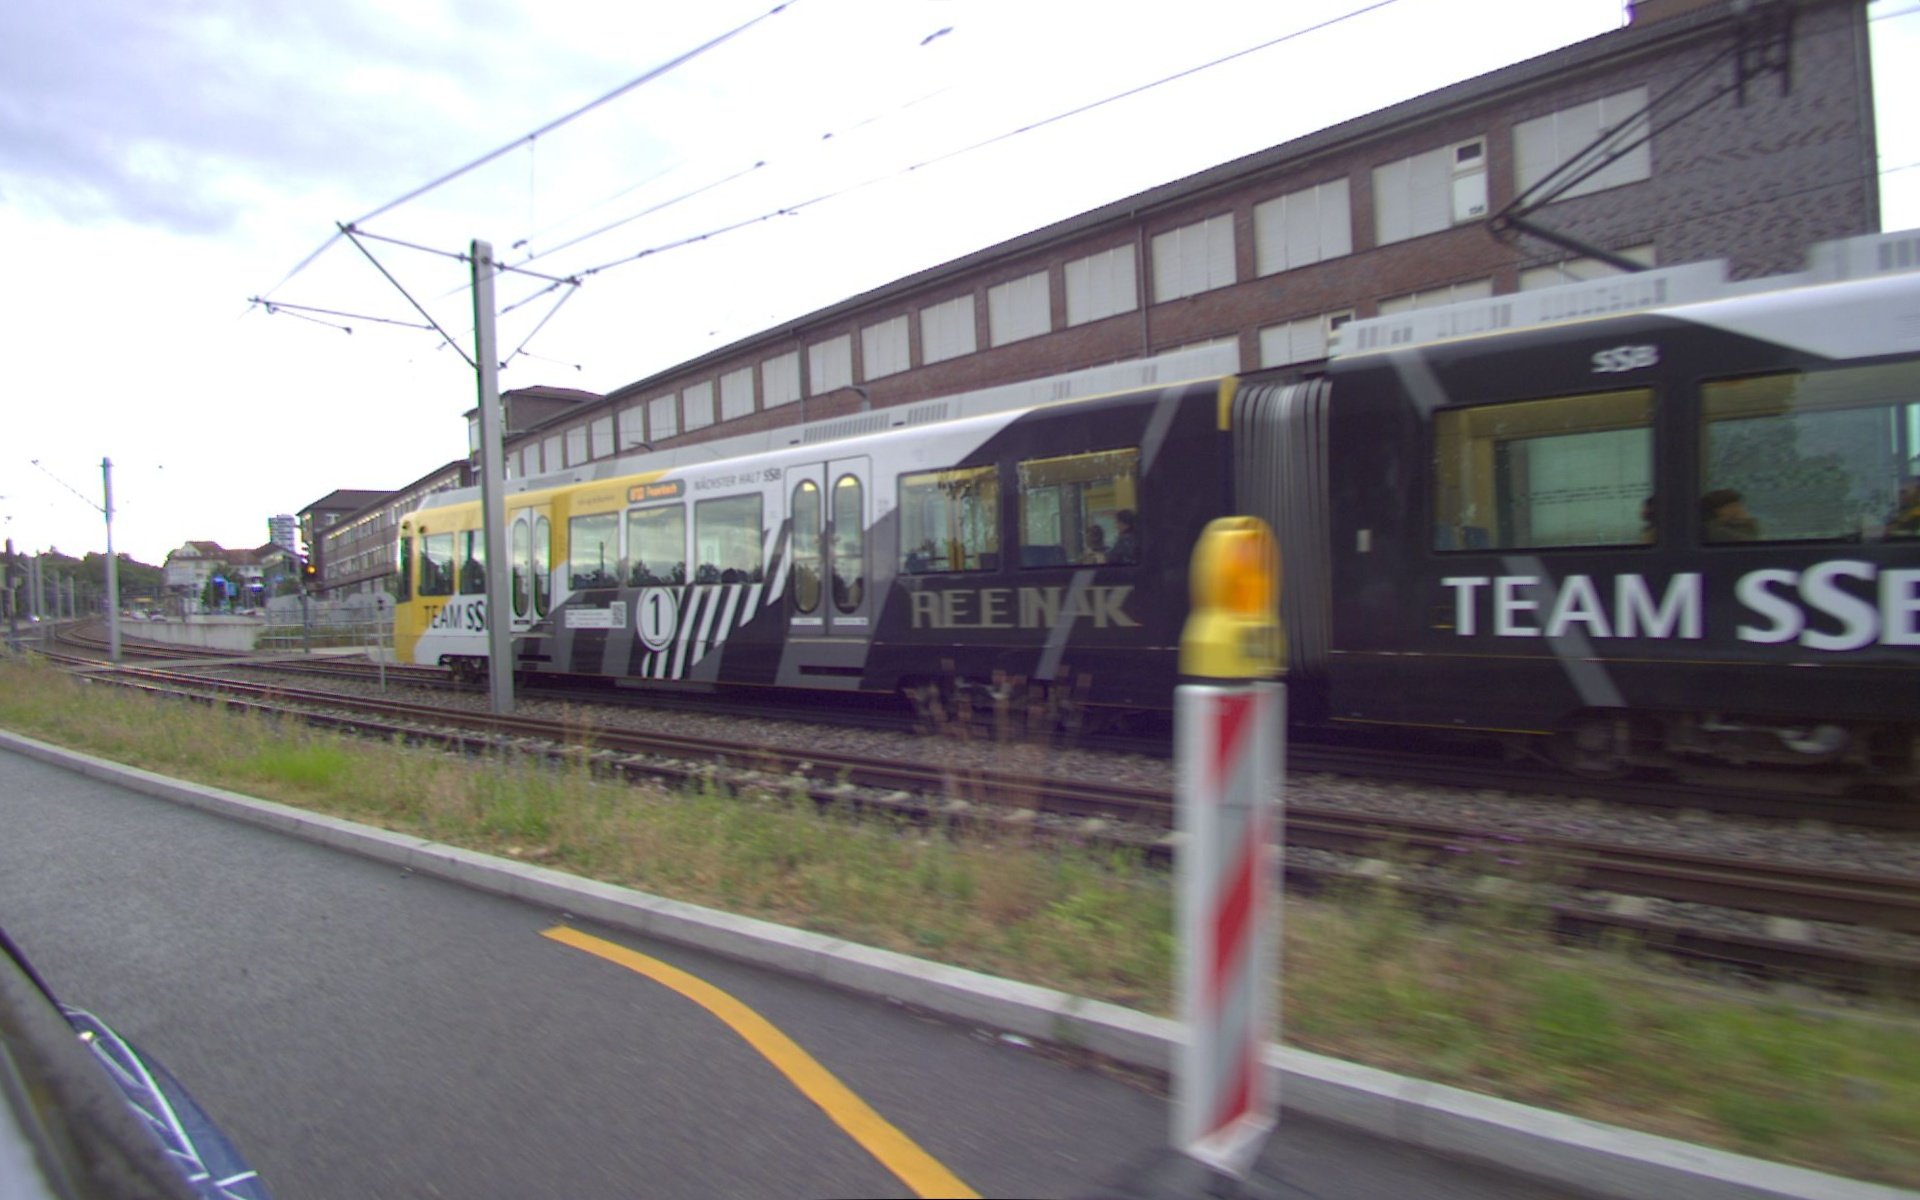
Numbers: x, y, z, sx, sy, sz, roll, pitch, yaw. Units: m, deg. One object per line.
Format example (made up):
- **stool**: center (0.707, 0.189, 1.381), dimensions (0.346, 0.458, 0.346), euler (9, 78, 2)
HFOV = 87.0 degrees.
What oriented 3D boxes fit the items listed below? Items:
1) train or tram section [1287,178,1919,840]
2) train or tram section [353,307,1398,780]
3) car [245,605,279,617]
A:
- **train or tram section**: center (11.181, -0.678, 3.506), dimensions (19.265, 3.915, 2.927), euler (-1, 1, 38)
- **train or tram section**: center (-3.907, -0.369, 15.714), dimensions (19.551, 3.915, 2.926), euler (-1, 1, 39)
- **car**: center (-116.731, 1.849, 169.316), dimensions (4.509, 1.773, 2.003), euler (-2, 0, -41)
